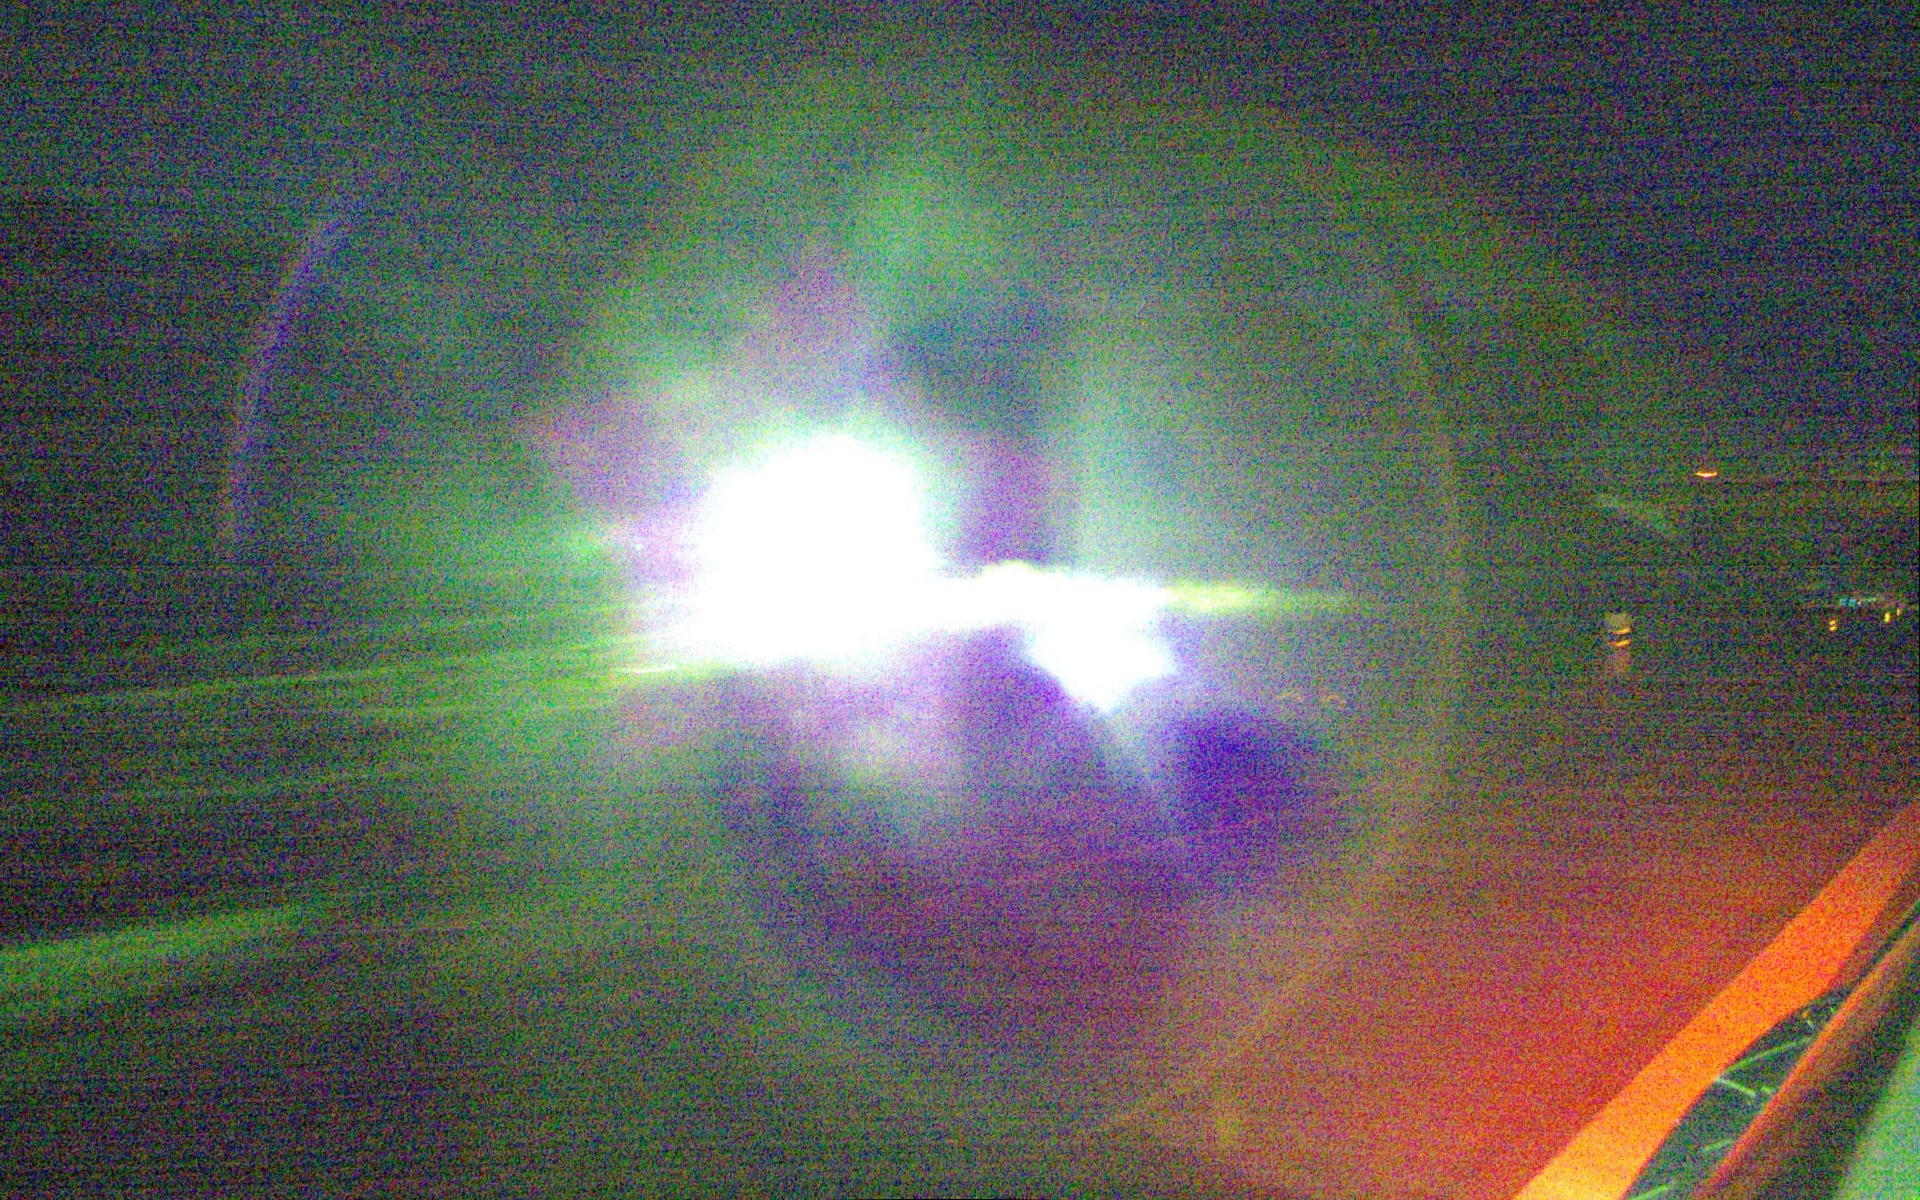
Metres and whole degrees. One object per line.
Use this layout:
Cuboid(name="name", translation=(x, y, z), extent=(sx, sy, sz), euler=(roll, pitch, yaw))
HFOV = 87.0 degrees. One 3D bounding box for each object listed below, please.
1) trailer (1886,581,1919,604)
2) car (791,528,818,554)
Cuboid(name="trailer", translation=(164.252, -1.297, 176.498), extent=(2.708, 4.006, 8.937), euler=(2, 1, 34))
Cuboid(name="car", translation=(-12.273, -4.632, 79.752), extent=(1.959, 1.877, 4.007), euler=(0, 0, -10))
